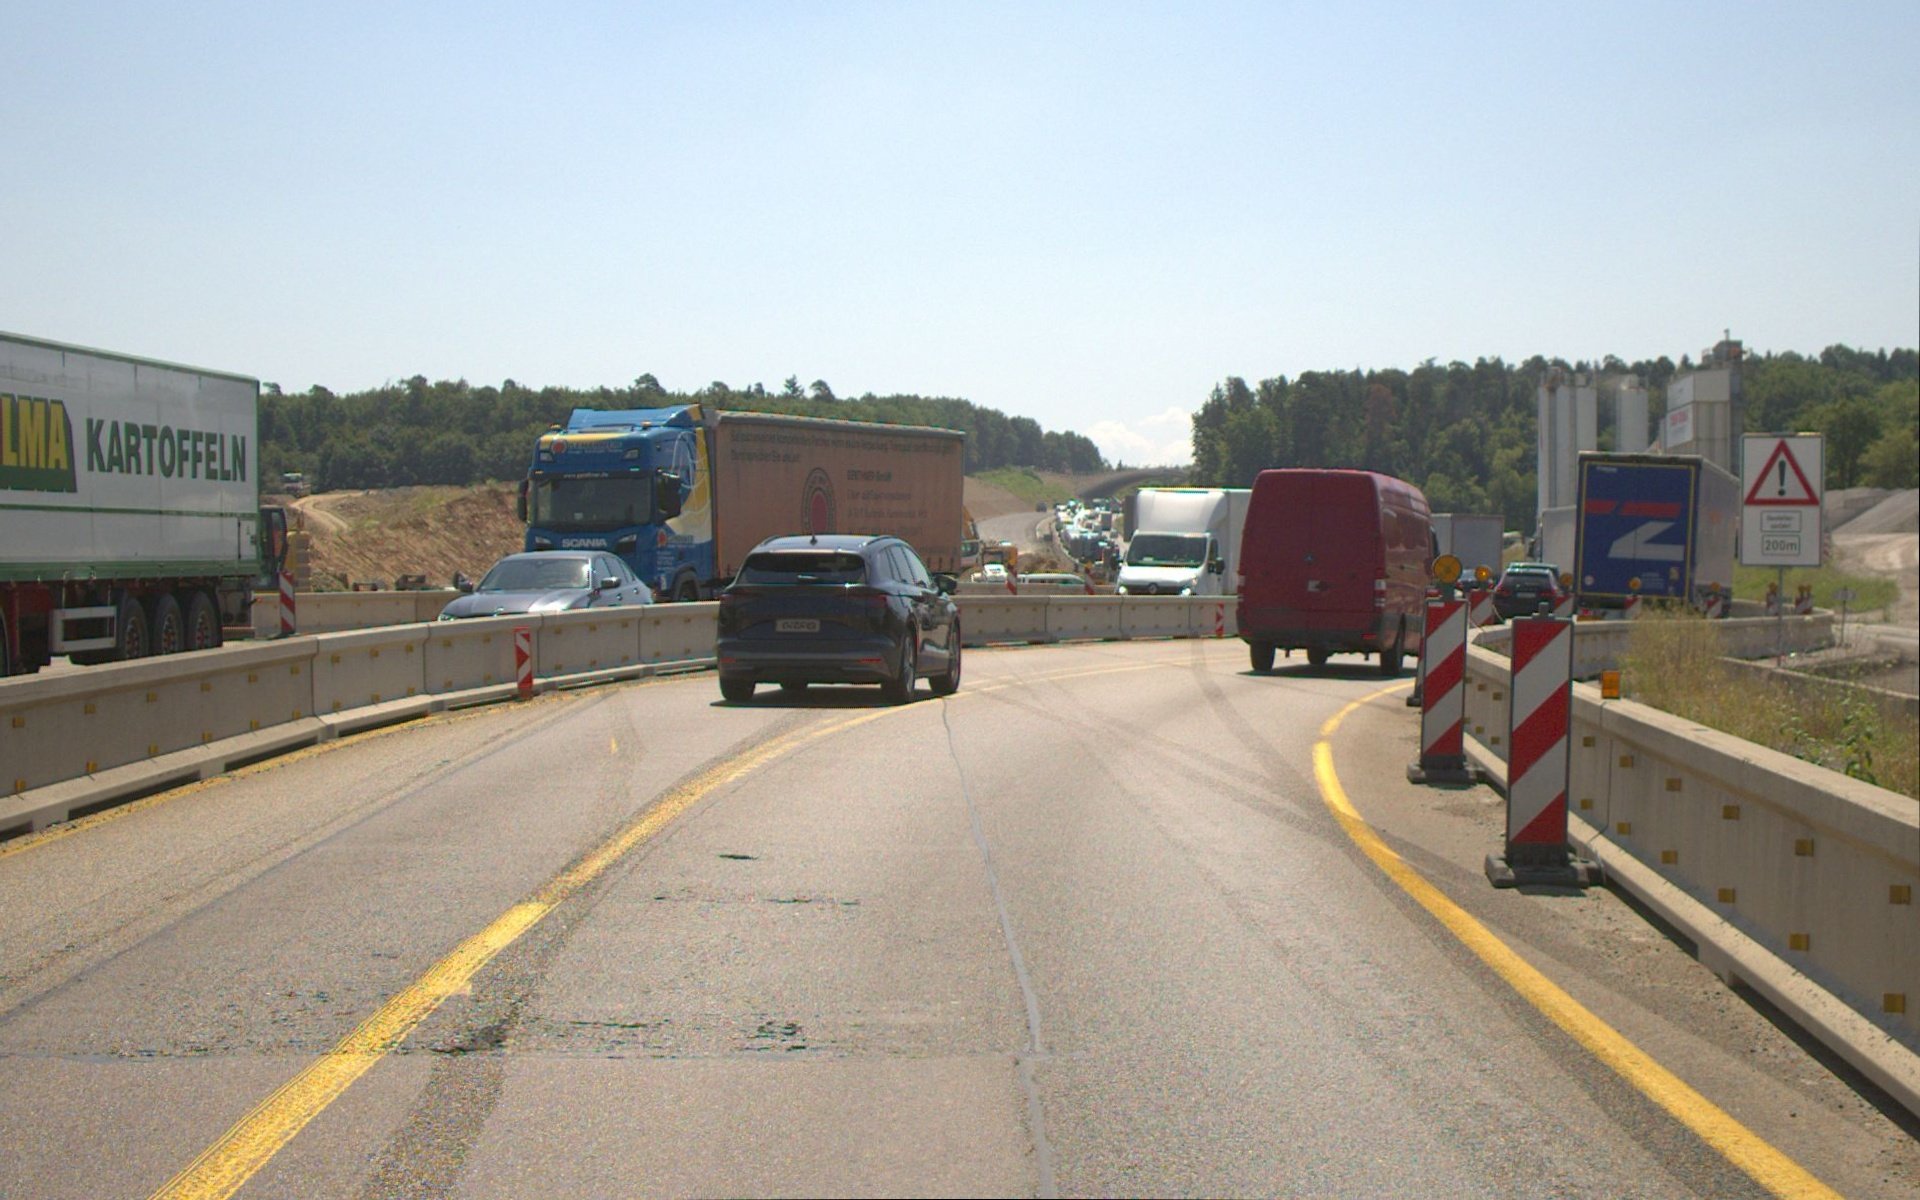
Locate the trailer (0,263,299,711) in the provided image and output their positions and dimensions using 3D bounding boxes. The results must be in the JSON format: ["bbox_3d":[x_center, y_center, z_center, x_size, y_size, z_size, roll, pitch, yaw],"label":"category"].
[{"bbox_3d":[-9.778,-1.126,36.582,2.353,4.138,12.497,1,1,3],"label":"trailer"}]

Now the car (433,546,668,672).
[{"bbox_3d":[-5.053,0.074,42.974,1.755,1.473,4.535,1,1,9],"label":"car"}]

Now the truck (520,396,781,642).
[{"bbox_3d":[-5.310,-1.395,59.962,2.546,4.067,5.540,1,1,18],"label":"truck"}]

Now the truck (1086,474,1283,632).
[{"bbox_3d":[5.140,-1.052,77.462,2.581,3.369,6.921,1,1,20],"label":"truck"}]

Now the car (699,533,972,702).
[{"bbox_3d":[-1.151,0.134,33.757,1.796,1.529,3.929,1,1,11],"label":"car"}]

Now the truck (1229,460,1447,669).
[{"bbox_3d":[5.254,-0.494,46.911,2.113,2.624,6.480,1,1,14],"label":"truck"}]

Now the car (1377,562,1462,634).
[{"bbox_3d":[10.411,-0.067,78.093,1.802,1.574,3.999,1,1,6],"label":"car"}]

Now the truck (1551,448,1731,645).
[{"bbox_3d":[15.271,-1.183,76.649,3.018,4.138,8.265,1,1,17],"label":"truck"}]

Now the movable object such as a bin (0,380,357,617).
[{"bbox_3d":[-15.651,-1.908,67.237,2.927,4.315,9.315,1,1,23],"label":"movable object such as a bin"}]

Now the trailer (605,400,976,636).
[{"bbox_3d":[-2.995,-1.529,66.962,2.589,4.138,13.053,1,1,19],"label":"trailer"}]
